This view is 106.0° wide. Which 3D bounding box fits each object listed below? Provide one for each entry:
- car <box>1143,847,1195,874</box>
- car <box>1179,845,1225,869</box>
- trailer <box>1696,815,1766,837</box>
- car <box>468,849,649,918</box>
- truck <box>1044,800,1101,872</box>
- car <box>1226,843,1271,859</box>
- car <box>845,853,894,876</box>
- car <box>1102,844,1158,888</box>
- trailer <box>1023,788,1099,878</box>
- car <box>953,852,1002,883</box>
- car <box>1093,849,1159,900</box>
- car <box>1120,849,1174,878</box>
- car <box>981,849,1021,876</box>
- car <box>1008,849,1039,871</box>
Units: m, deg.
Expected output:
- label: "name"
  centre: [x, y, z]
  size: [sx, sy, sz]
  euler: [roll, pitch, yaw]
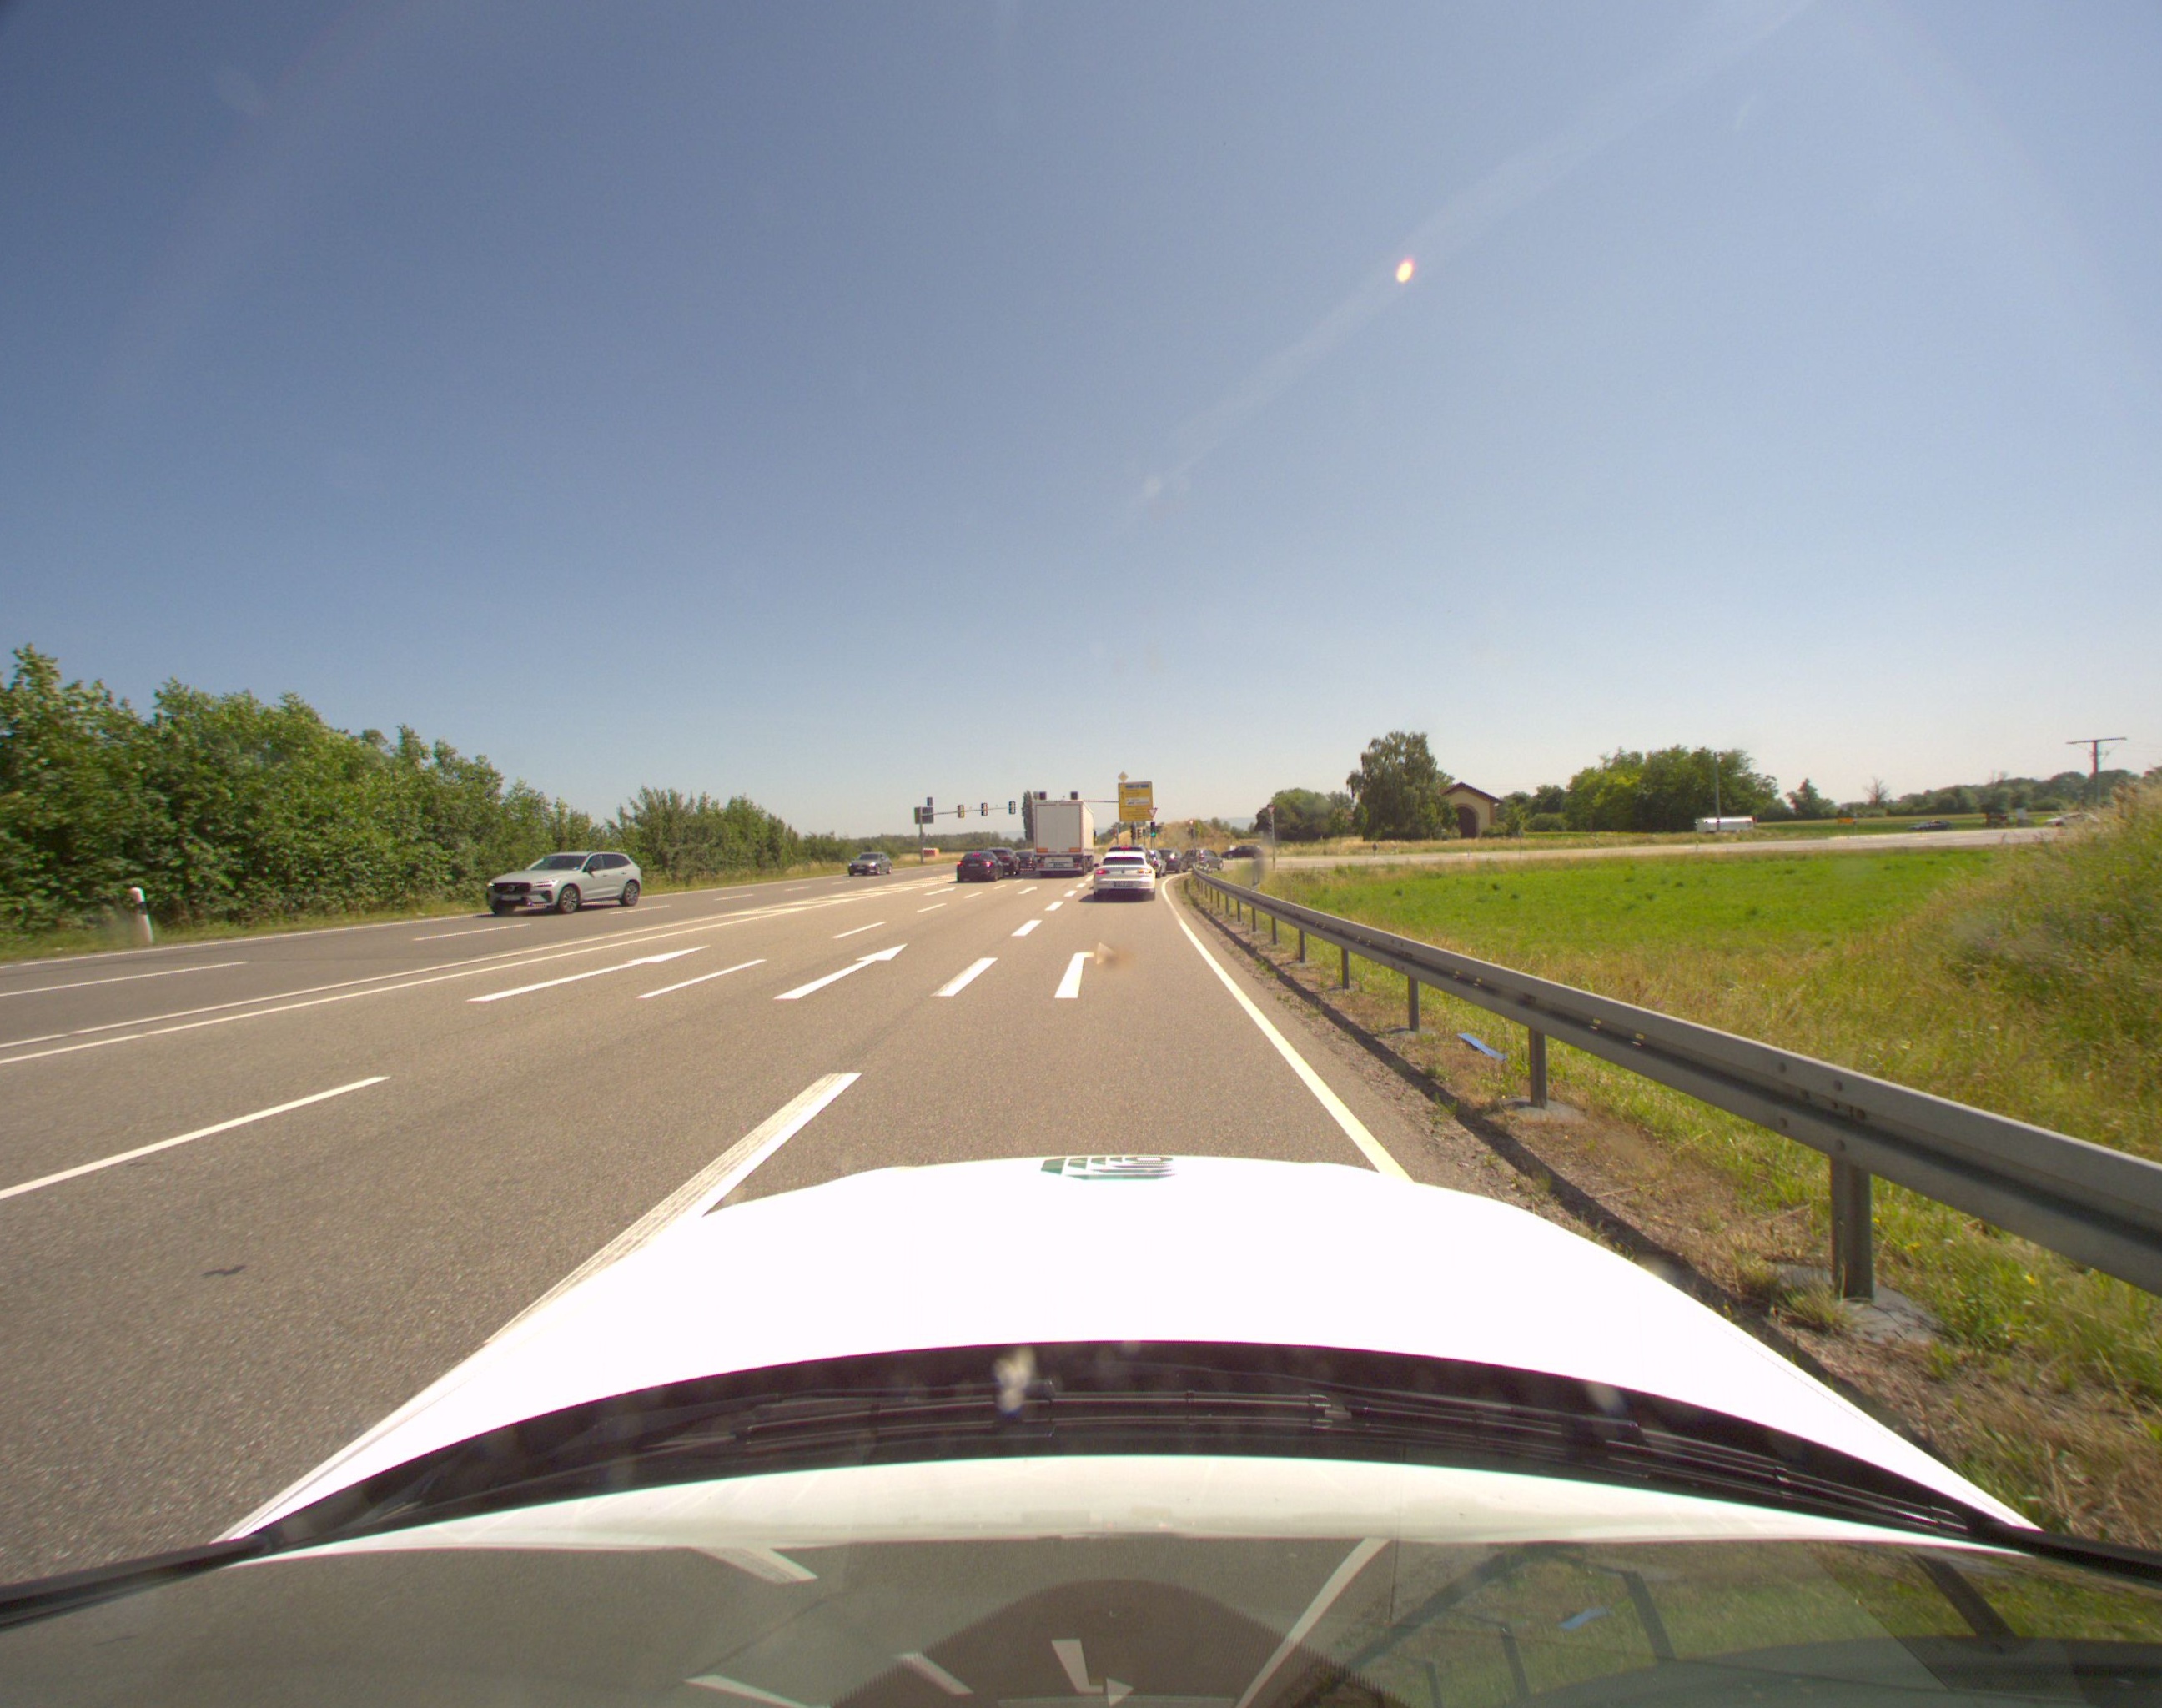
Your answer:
- label: "car"
  centre: [5.213, 0.341, 47.646]
  size: [1.784, 1.476, 4.439]
  euler: [-1, 0, 23]
- label: "car"
  centre: [8.215, 0.199, 54.896]
  size: [1.782, 1.522, 3.906]
  euler: [-1, 0, 29]
- label: "trailer"
  centre: [80.870, -3.532, 101.467]
  size: [6.327, 2.455, 2.692]
  euler: [-2, 2, 7]
- label: "car"
  centre: [-14.259, 0.716, 22.619]
  size: [2.021, 1.639, 4.570]
  euler: [0, 1, 0]
- label: "truck"
  centre: [-0.475, -1.141, 55.060]
  size: [3.367, 4.542, 6.378]
  euler: [0, 0, 3]
- label: "car"
  centre: [16.768, -0.271, 81.811]
  size: [4.239, 1.368, 1.779]
  euler: [-2, 1, 5]
- label: "car"
  centre: [-13.434, 0.636, 52.062]
  size: [1.872, 1.398, 4.531]
  euler: [-1, 0, 1]
- label: "car"
  centre: [2.020, 0.430, 32.445]
  size: [1.924, 1.616, 4.387]
  euler: [-1, 0, 7]
- label: "trailer"
  centre: [-0.901, -1.098, 47.929]
  size: [3.367, 4.542, 12.883]
  euler: [0, 0, 3]
- label: "car"
  centre: [-5.049, 0.629, 40.064]
  size: [1.802, 1.398, 4.022]
  euler: [0, 0, 1]
- label: "car"
  centre: [1.382, 0.576, 25.221]
  size: [1.840, 1.433, 4.612]
  euler: [-1, 0, 3]
- label: "car"
  centre: [3.426, 0.462, 41.480]
  size: [1.785, 1.429, 4.112]
  euler: [-1, 0, 18]
- label: "car"
  centre: [-4.604, 0.454, 47.249]
  size: [1.802, 1.493, 4.022]
  euler: [0, 0, 1]
- label: "car"
  centre: [-4.053, 0.433, 57.643]
  size: [1.802, 1.493, 4.022]
  euler: [0, 0, 1]
